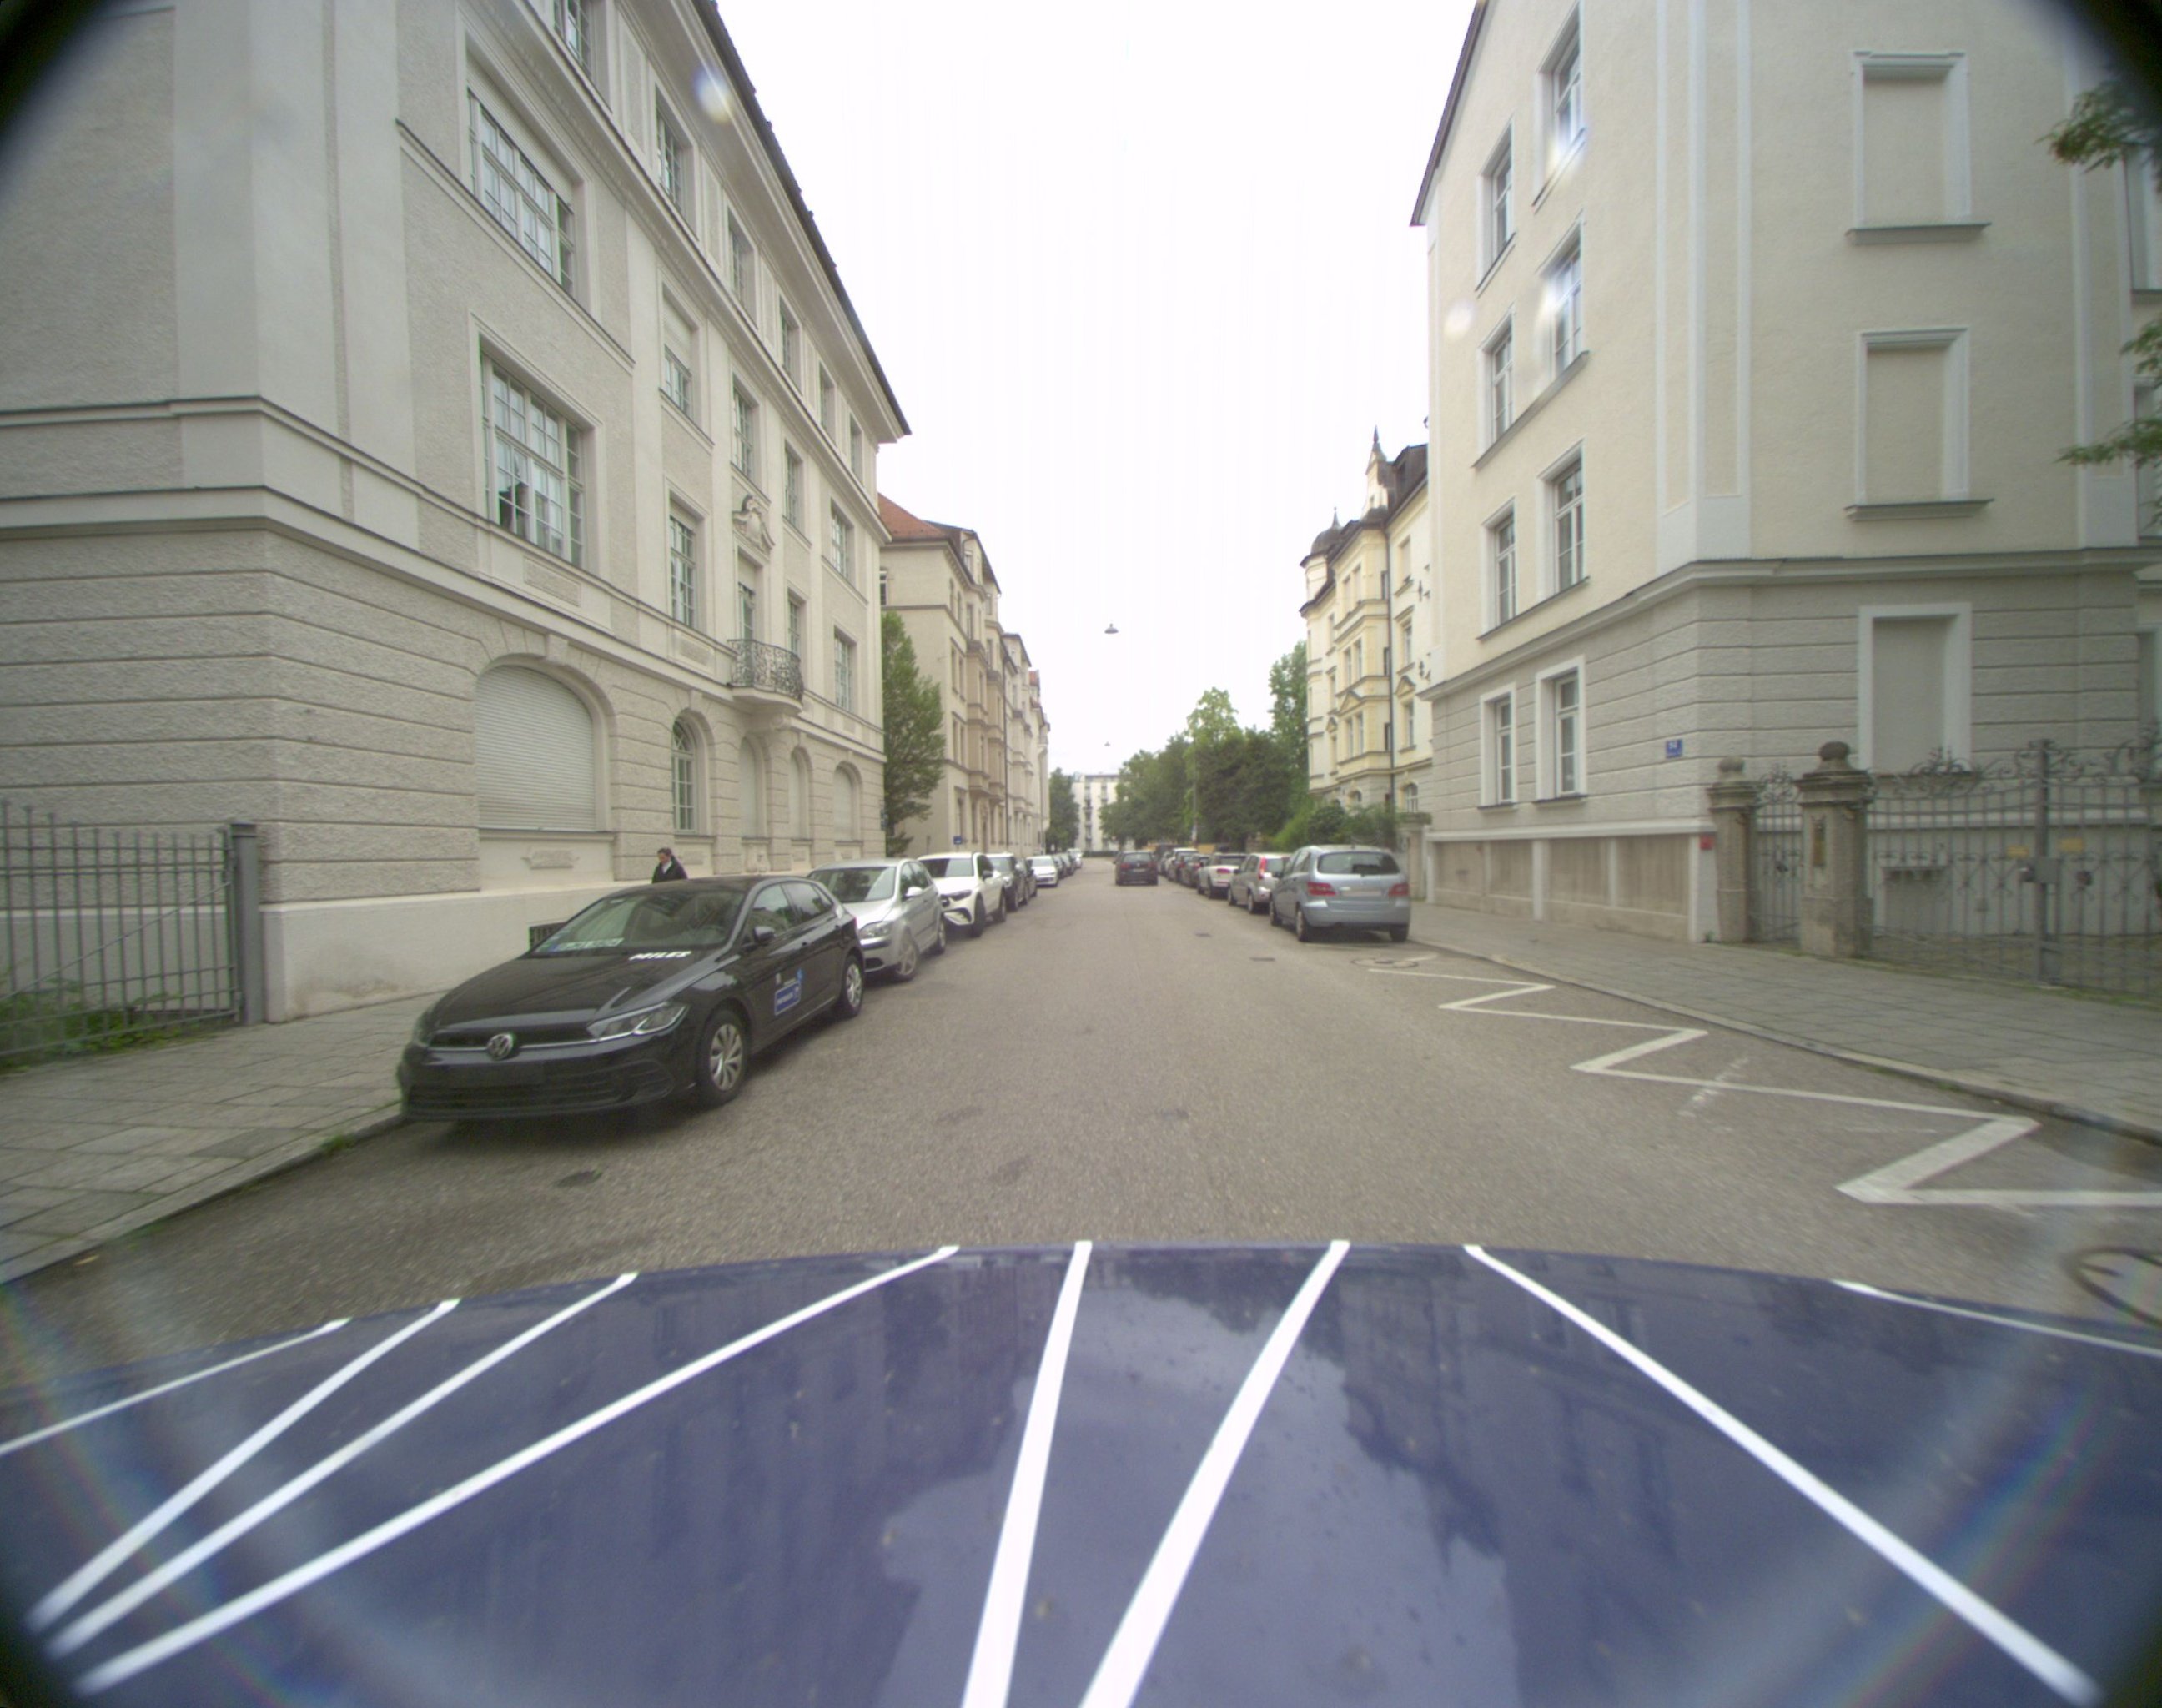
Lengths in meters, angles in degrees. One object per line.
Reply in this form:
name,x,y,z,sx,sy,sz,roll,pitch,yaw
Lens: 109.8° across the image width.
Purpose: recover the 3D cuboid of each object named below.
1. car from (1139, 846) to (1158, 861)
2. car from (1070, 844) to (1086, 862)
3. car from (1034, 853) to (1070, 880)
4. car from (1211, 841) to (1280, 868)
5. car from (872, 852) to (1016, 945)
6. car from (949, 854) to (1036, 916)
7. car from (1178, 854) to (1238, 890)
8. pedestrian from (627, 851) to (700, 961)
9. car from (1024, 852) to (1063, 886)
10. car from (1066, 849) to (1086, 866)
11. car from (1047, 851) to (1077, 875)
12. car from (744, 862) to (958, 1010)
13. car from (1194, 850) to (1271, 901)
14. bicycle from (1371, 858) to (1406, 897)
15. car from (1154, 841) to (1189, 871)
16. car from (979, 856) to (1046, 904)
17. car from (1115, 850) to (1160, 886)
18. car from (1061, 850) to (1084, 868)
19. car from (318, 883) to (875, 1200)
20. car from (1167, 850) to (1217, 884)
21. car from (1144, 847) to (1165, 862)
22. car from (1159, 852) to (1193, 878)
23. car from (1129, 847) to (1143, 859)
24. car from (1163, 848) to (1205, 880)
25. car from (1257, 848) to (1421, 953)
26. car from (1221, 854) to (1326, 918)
car,7.050,-0.062,79.974,1.704,1.552,3.930,0,1,0
car,-0.421,-0.129,90.878,1.794,1.926,4.084,-2,1,0
car,-1.715,0.742,46.129,1.746,1.390,4.022,-3,1,3
car,12.088,0.030,56.032,4.520,1.847,2.054,-1,1,-5
car,-2.614,0.792,15.603,1.900,1.626,4.392,-1,0,3
car,-2.383,0.793,21.437,1.752,1.516,4.170,-1,1,2
car,5.270,0.709,31.978,1.739,1.357,4.192,1,0,-1
pedestrian,-6.567,0.788,11.983,0.684,1.669,0.812,1,1,1
car,-1.761,0.705,36.560,1.667,1.499,4.064,-2,0,0
car,-0.467,0.311,71.884,1.715,1.462,4.084,-2,1,0
car,-1.262,0.577,51.322,1.645,1.409,4.000,-2,1,3
car,-2.890,0.940,10.491,1.712,1.492,3.999,-2,1,0
car,4.799,0.636,24.574,1.801,1.426,4.079,-1,1,2
bicycle,8.866,0.658,21.932,0.432,1.055,1.420,-5,1,3
car,5.996,0.097,50.788,1.917,1.876,4.816,0,1,2
car,-2.253,0.825,26.072,1.715,1.443,4.225,-2,0,2
car,2.496,0.581,34.474,1.728,1.525,4.085,-1,0,0
car,-0.719,0.402,66.233,1.714,1.382,4.000,-2,1,2
car,-3.037,1.047,5.909,1.616,1.387,4.000,-2,1,2
car,5.254,0.592,36.479,1.773,1.412,3.999,-1,2,0
car,7.218,0.021,74.638,1.704,1.484,3.955,0,1,0
car,5.768,0.629,46.416,1.646,1.422,3.919,2,1,1
car,7.154,-0.168,99.268,1.653,1.552,3.930,0,1,0
car,5.656,0.495,42.002,1.810,1.639,4.485,0,1,1
car,4.435,0.707,13.705,1.700,1.571,4.062,1,0,2
car,4.795,0.729,19.483,1.649,1.395,3.999,1,1,0
